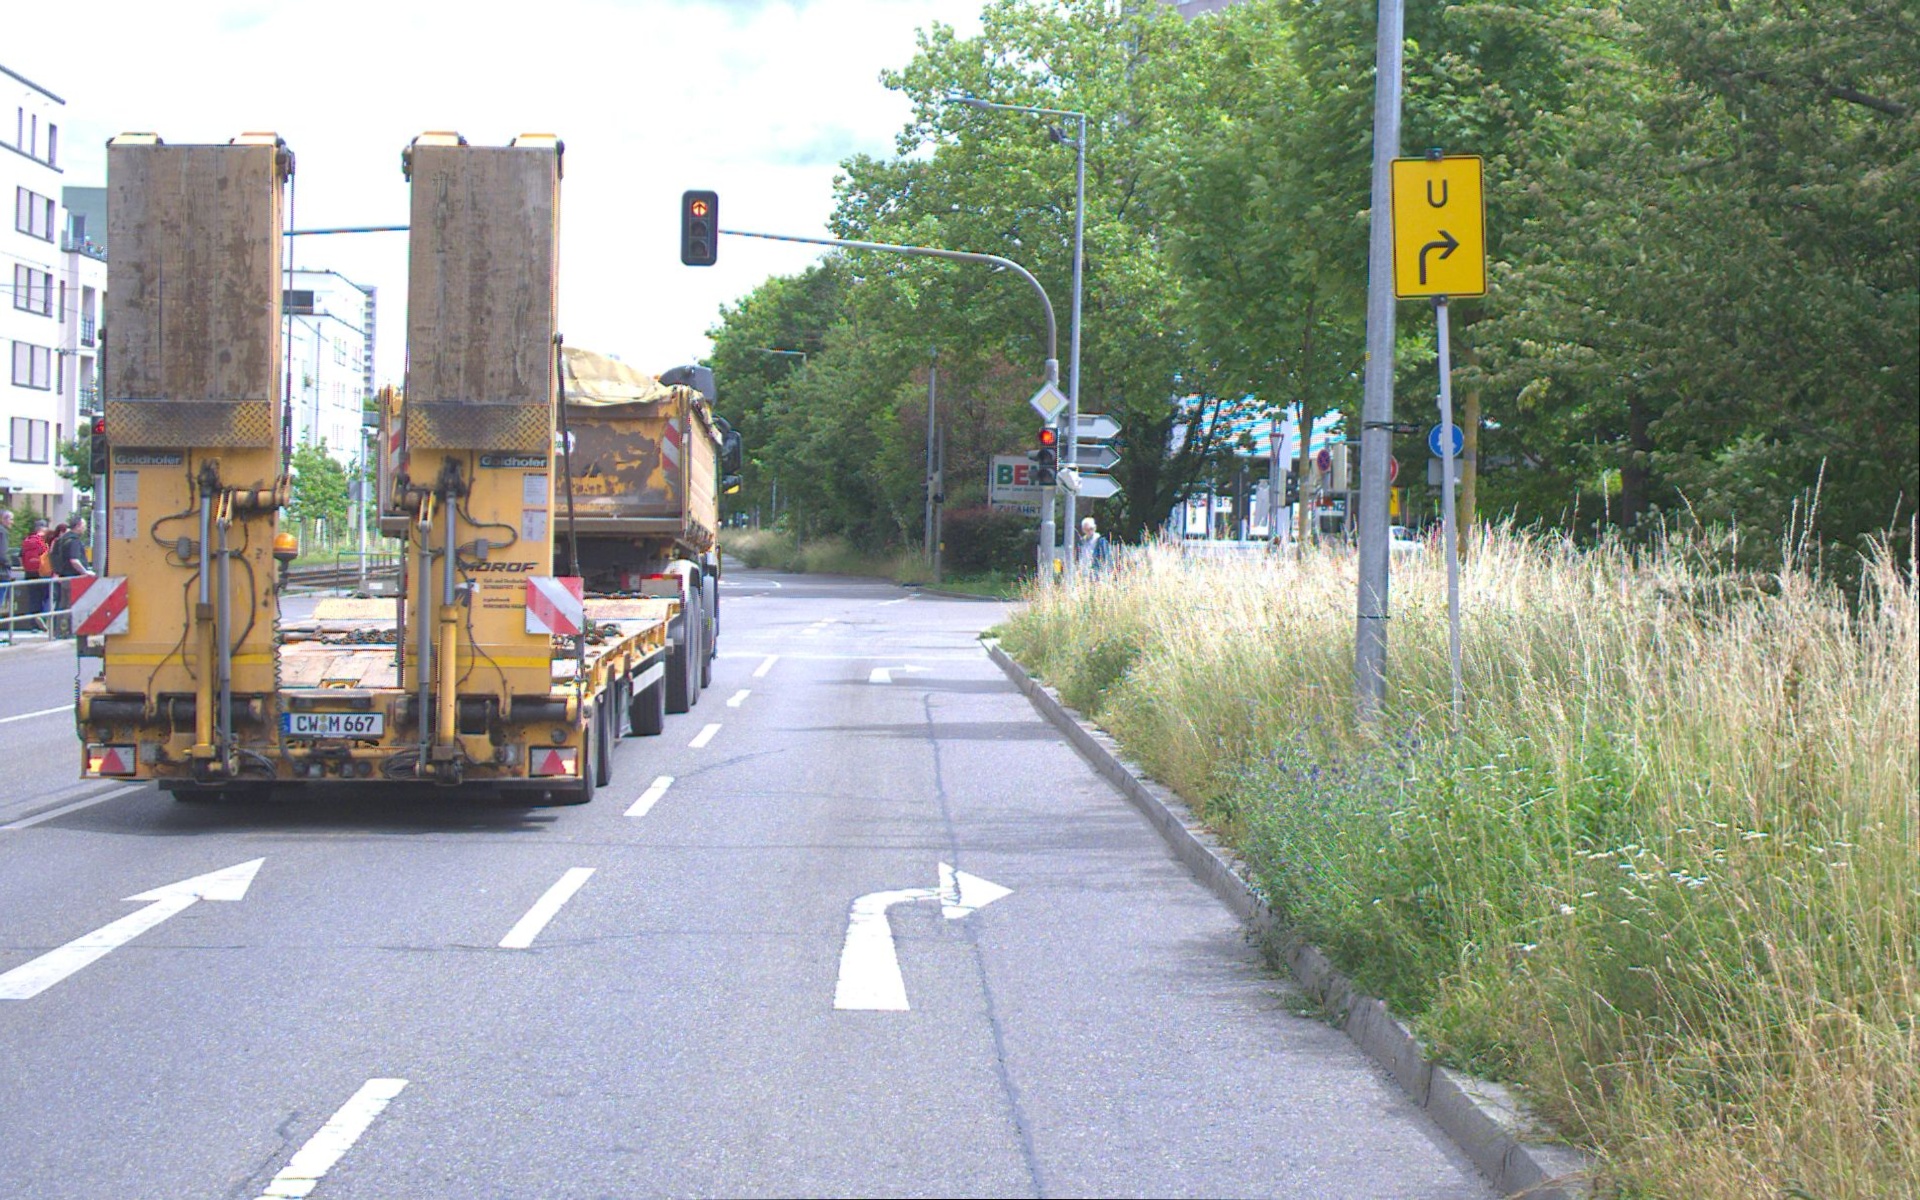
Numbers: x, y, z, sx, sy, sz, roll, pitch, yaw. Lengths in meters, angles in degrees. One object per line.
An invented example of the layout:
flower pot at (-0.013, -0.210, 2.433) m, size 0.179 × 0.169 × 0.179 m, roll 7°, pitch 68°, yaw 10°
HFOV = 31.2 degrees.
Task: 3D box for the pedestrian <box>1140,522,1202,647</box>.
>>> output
pedestrian at (2.828, -0.209, 46.093) m, size 0.628 × 1.647 × 0.562 m, roll 2°, pitch 1°, yaw 25°

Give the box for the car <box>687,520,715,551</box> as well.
car at (-16.843, -4.192, 223.580) m, size 1.689 × 1.919 × 4.001 m, roll 2°, pitch 1°, yaw -6°

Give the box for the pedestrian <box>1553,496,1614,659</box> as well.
pedestrian at (7.786, -0.280, 42.923) m, size 0.561 × 2.007 × 0.492 m, roll 1°, pitch 0°, yaw -10°

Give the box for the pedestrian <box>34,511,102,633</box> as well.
pedestrian at (-11.891, -0.385, 45.847) m, size 0.681 × 1.597 × 0.823 m, roll 2°, pitch 1°, yaw -2°

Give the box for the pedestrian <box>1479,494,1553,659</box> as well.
pedestrian at (6.883, -0.295, 42.567) m, size 0.671 × 2.007 × 0.635 m, roll 1°, pitch 0°, yaw -11°

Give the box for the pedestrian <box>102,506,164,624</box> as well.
pedestrian at (-11.885, -0.504, 49.423) m, size 0.681 × 1.664 × 0.823 m, roll 2°, pitch 1°, yaw -2°

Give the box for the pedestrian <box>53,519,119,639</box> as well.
pedestrian at (-11.894, -0.287, 46.799) m, size 0.681 × 1.597 × 0.823 m, roll 2°, pitch 1°, yaw -2°

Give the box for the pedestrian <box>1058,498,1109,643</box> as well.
pedestrian at (1.729, -0.412, 48.198) m, size 0.561 × 2.007 × 0.492 m, roll 1°, pitch 0°, yaw -10°

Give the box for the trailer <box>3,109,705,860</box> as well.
trailer at (-3.343, -0.689, 22.234) m, size 2.729 × 3.546 × 11.255 m, roll 2°, pitch 1°, yaw -1°

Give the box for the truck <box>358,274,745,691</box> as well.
truck at (-3.572, -1.053, 32.061) m, size 2.753 × 3.302 × 8.353 m, roll 2°, pitch 1°, yaw -2°

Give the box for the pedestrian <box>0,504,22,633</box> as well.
pedestrian at (-12.719, -0.422, 44.694) m, size 0.820 × 1.663 × 0.683 m, roll 2°, pitch 1°, yaw 0°

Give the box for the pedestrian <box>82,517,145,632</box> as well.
pedestrian at (-11.926, -0.366, 48.462) m, size 0.681 × 1.597 × 0.823 m, roll 2°, pitch 1°, yaw -2°
